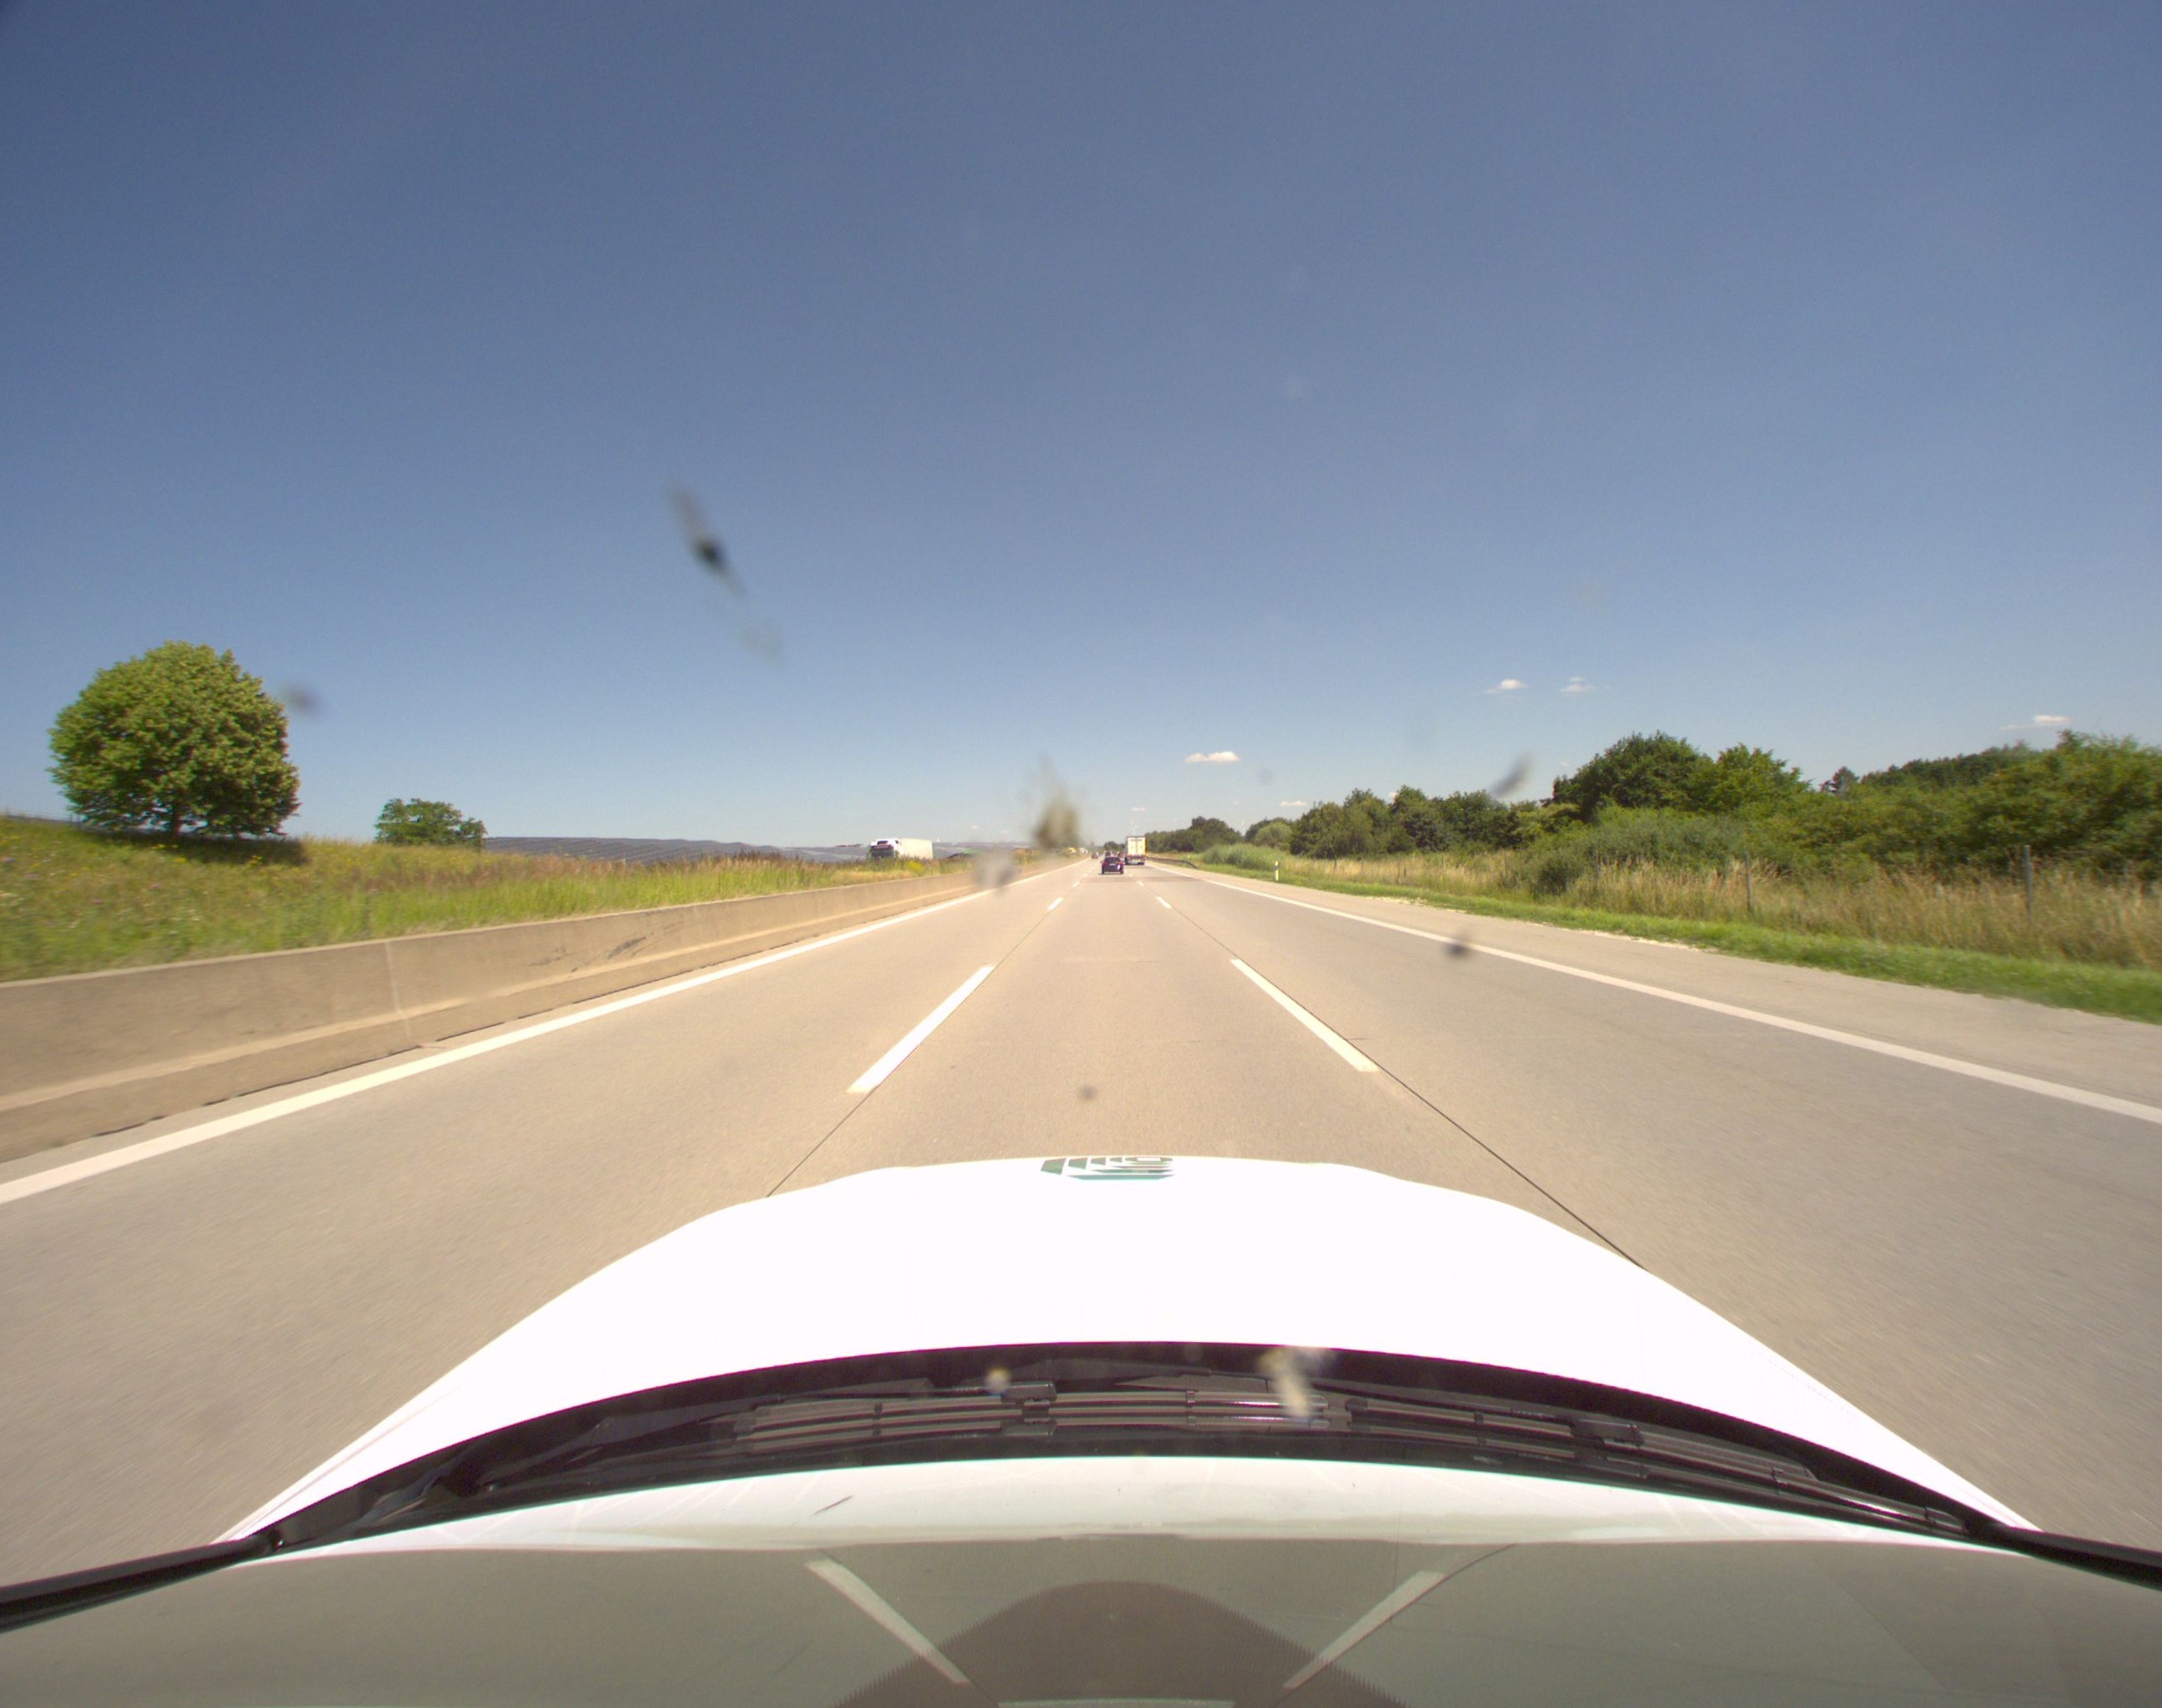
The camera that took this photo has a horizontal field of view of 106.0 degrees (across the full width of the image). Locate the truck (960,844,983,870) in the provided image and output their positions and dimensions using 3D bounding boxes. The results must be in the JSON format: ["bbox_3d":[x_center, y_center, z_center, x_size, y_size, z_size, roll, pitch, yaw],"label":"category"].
[{"bbox_3d":[-16.794,0.493,124.697,2.734,3.951,4.355,0,0,2],"label":"truck"}]

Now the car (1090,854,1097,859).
[{"bbox_3d":[3.475,0.736,224.554,1.649,1.196,3.962,2,0,2],"label":"car"}]

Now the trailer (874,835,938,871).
[{"bbox_3d":[-17.460,-0.046,82.539,2.821,3.183,14.512,-2,-1,2],"label":"trailer"}]

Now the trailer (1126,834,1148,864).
[{"bbox_3d":[7.968,-0.688,117.433,2.841,4.042,12.720,0,0,2],"label":"trailer"}]

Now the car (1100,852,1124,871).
[{"bbox_3d":[2.489,0.602,66.629,1.903,1.492,4.193,0,0,1],"label":"car"}]

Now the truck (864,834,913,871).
[{"bbox_3d":[-17.723,-0.085,75.383,2.822,3.157,5.829,-2,-1,2],"label":"truck"}]

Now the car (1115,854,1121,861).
[{"bbox_3d":[11.081,0.997,243.117,1.819,1.907,4.005,-1,0,4],"label":"car"}]

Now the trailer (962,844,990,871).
[{"bbox_3d":[-16.601,0.515,129.118,2.722,4.191,10.262,-1,0,2],"label":"trailer"}]
